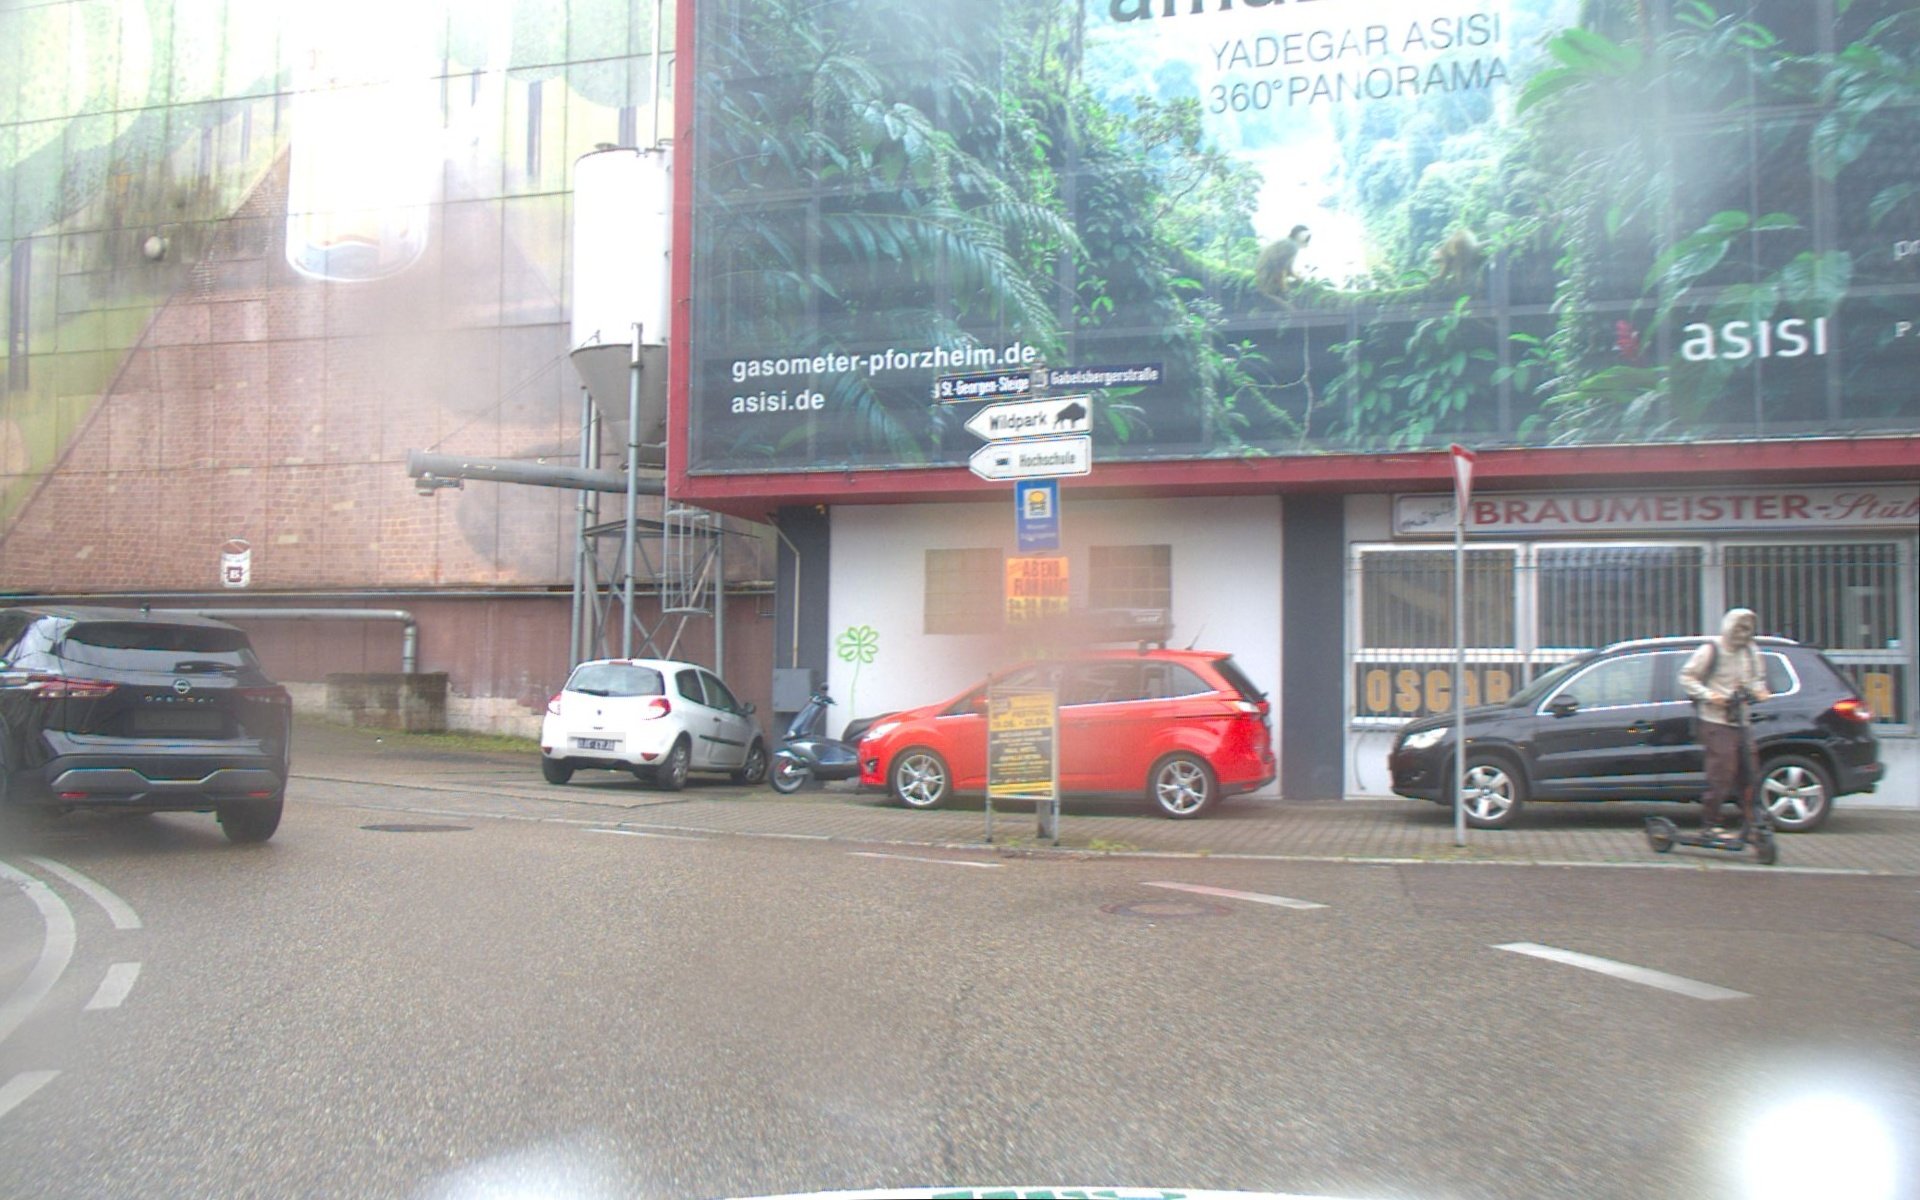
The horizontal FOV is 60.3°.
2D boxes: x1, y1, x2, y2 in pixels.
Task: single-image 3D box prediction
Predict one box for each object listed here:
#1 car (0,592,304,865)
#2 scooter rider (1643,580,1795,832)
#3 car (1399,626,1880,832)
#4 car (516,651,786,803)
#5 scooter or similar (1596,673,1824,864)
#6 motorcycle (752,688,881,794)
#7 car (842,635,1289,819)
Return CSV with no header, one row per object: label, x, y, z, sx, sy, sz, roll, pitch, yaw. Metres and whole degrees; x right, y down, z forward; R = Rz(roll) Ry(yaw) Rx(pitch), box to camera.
car,-6.320,0.850,11.880,1.869,1.622,3.864,3,-3,-40
scooter rider,5.848,0.788,12.746,0.796,1.853,0.771,0,-1,-38
car,6.205,1.169,15.549,3.903,1.741,1.933,-2,-2,17
car,-3.719,1.489,20.673,1.829,1.560,3.996,0,0,14
scooter or similar,5.788,1.258,12.810,0.796,1.346,1.389,0,-1,-38
motorcycle,-1.638,1.608,18.946,1.389,1.181,0.452,0,-3,5
car,1.160,1.272,17.491,4.383,1.742,1.933,0,-2,17
